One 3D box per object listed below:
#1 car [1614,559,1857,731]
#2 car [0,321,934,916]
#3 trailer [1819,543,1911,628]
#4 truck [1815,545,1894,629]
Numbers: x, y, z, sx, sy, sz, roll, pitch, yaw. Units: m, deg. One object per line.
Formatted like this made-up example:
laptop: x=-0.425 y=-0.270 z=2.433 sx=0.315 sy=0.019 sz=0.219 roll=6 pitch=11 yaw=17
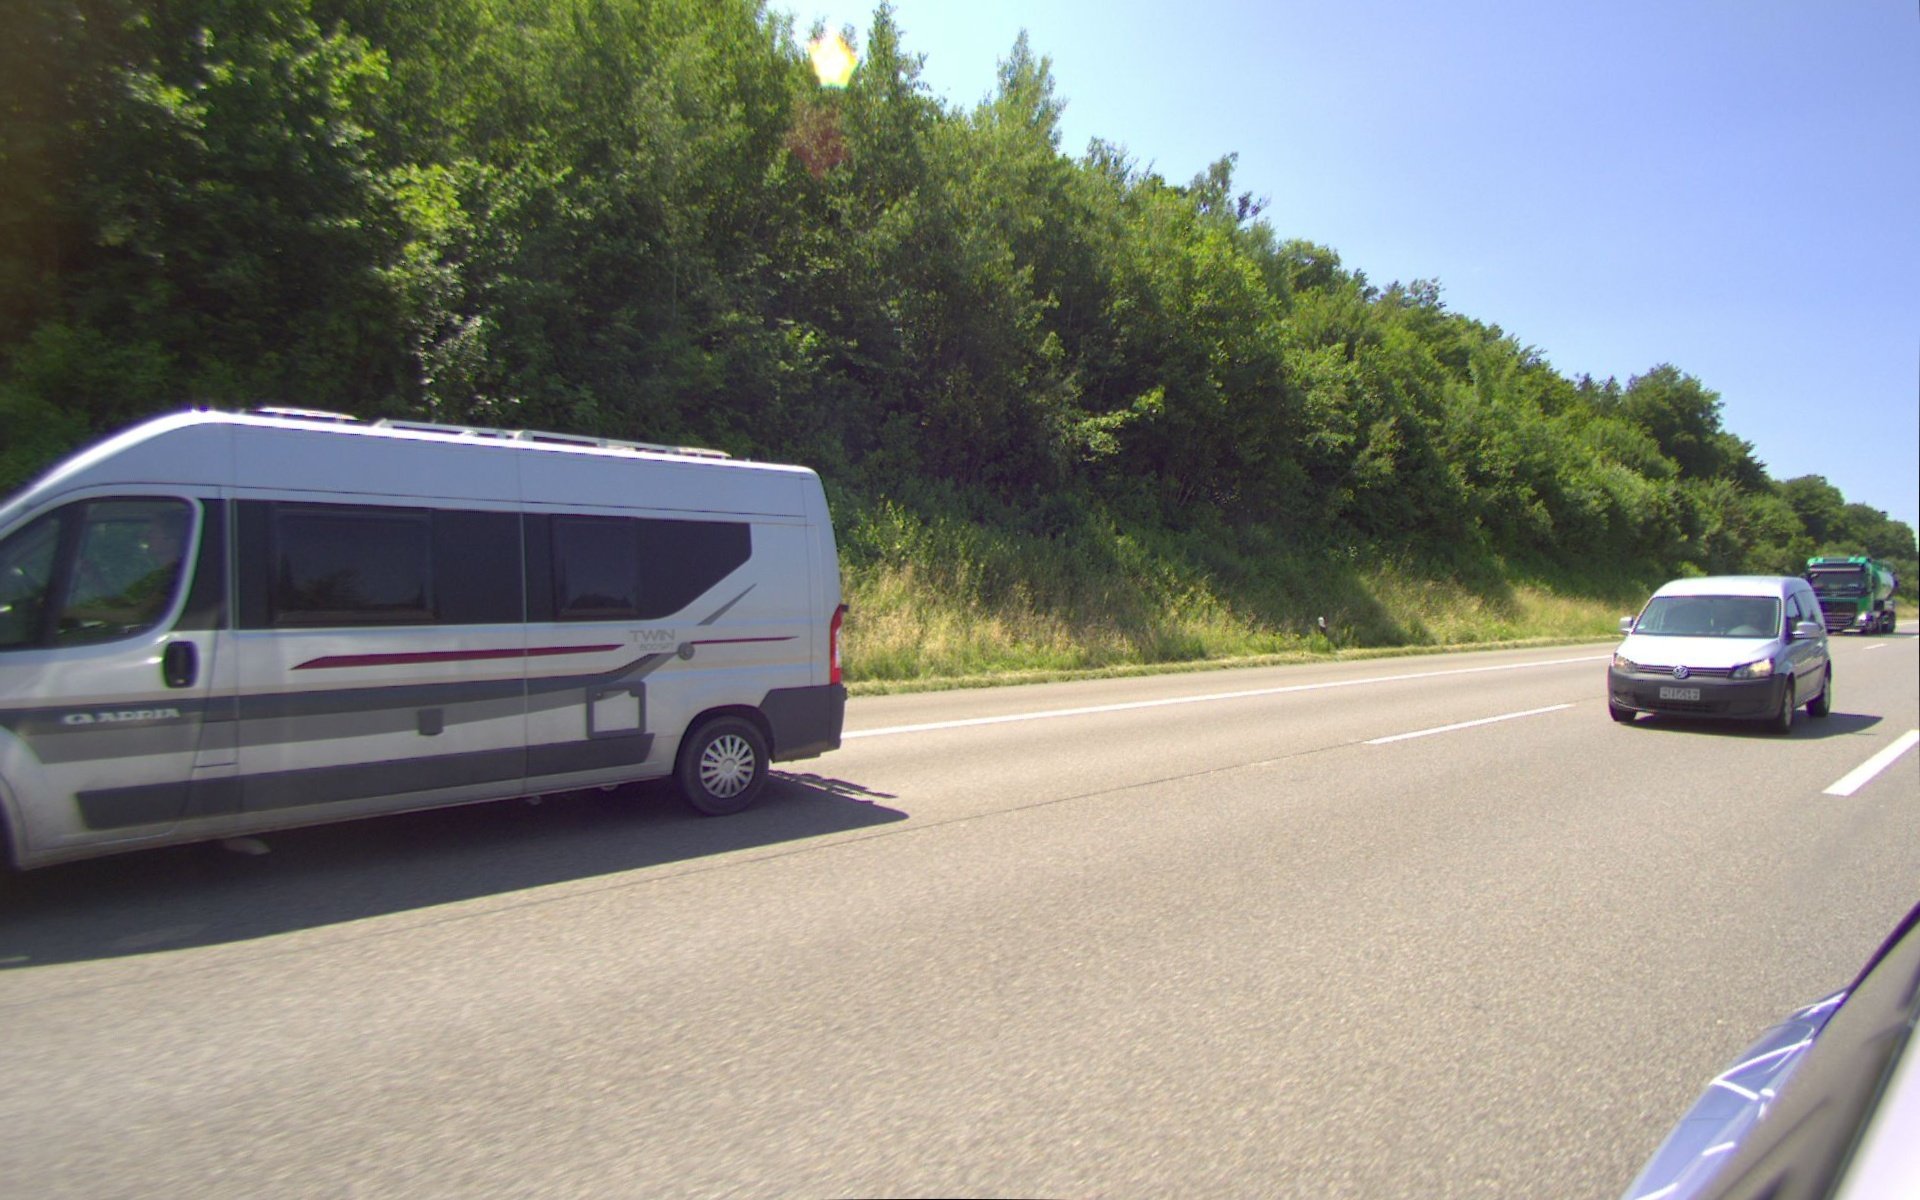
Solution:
car: x=10.195 y=0.483 z=13.162 sx=4.719 sy=1.853 sz=1.748 roll=0 pitch=0 yaw=-43
car: x=-3.339 y=0.106 z=6.587 sx=6.505 sy=2.609 sz=2.093 roll=1 pitch=-1 yaw=-41
trailer: x=47.313 y=-0.617 z=52.767 sx=10.290 sy=4.079 sz=2.590 roll=1 pitch=-1 yaw=-43
truck: x=43.483 y=-0.576 z=49.179 sx=4.810 sy=3.891 sz=2.512 roll=1 pitch=-1 yaw=-44
